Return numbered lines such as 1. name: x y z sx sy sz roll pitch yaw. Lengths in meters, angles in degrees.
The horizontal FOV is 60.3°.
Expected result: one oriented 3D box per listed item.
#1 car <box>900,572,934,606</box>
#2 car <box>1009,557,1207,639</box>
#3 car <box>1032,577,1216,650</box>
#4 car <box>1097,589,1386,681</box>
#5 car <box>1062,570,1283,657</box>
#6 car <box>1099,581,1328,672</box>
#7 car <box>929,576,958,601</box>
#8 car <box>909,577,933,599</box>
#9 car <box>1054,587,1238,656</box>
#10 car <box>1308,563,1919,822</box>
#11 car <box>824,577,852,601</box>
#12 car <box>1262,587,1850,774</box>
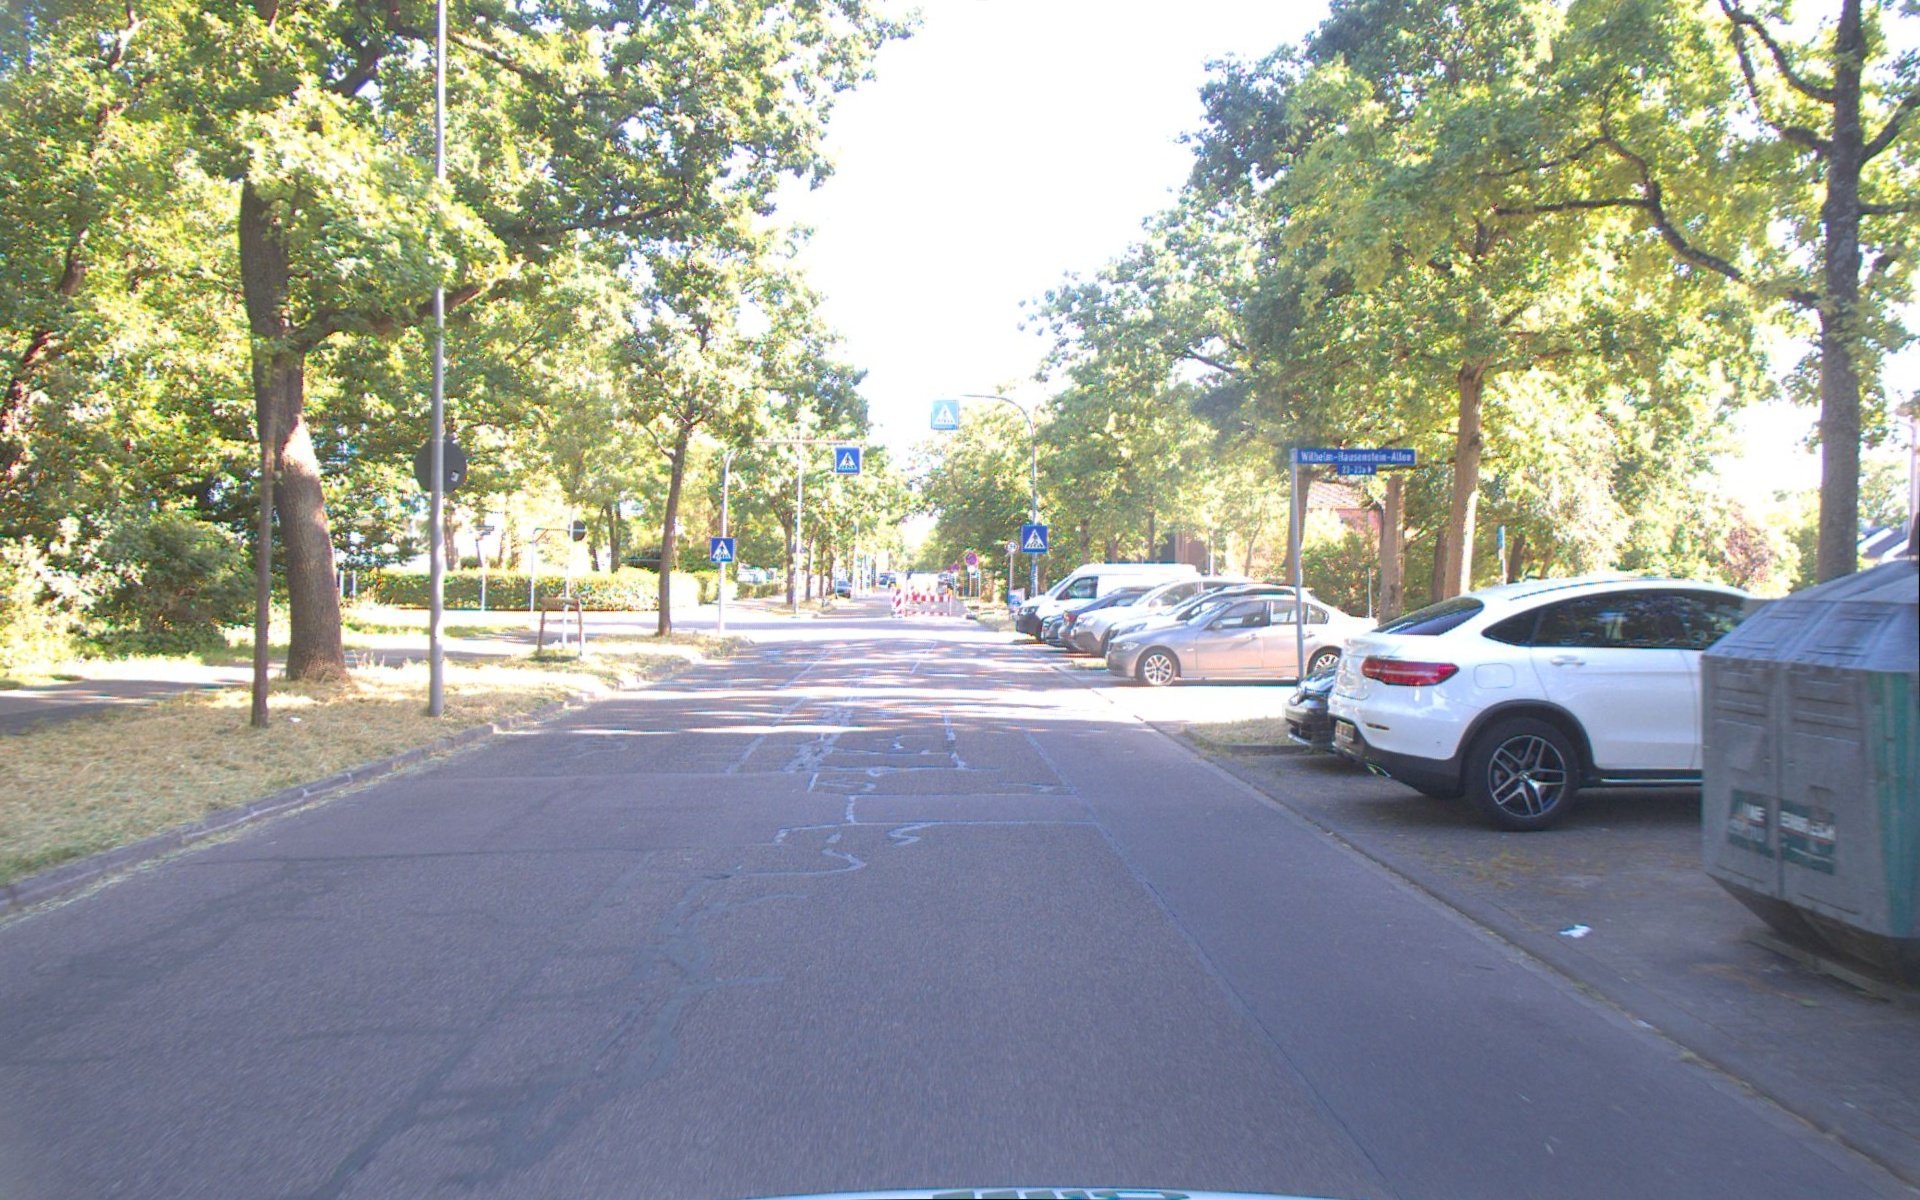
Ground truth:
1. car: -2.636 -0.698 100.383 1.953 1.966 3.999 1 0 -2
2. car: 3.954 -0.045 44.728 5.084 2.142 2.081 0 0 -3
3. car: 3.876 0.306 39.590 4.129 1.596 1.932 1 0 -3
4. car: 4.491 0.542 26.826 4.355 1.414 1.910 0 1 -2
5. car: 4.373 0.253 34.429 4.297 1.680 1.850 -1 1 -4
6. car: 4.521 0.449 29.812 3.807 1.523 1.776 -1 0 -2
7. car: -1.241 -0.819 121.354 1.953 1.746 3.999 1 0 -2
8. car: -3.242 -0.984 137.051 1.953 1.746 3.999 1 0 -2
9. car: 4.109 0.461 36.958 3.905 1.458 1.901 1 0 0
10. car: 4.928 0.571 11.555 4.576 1.608 1.916 -1 1 -1
11. car: -9.361 -0.868 127.447 1.953 1.746 3.999 1 0 -2
12. car: 5.185 0.659 14.816 4.577 1.481 1.916 -1 1 -2
